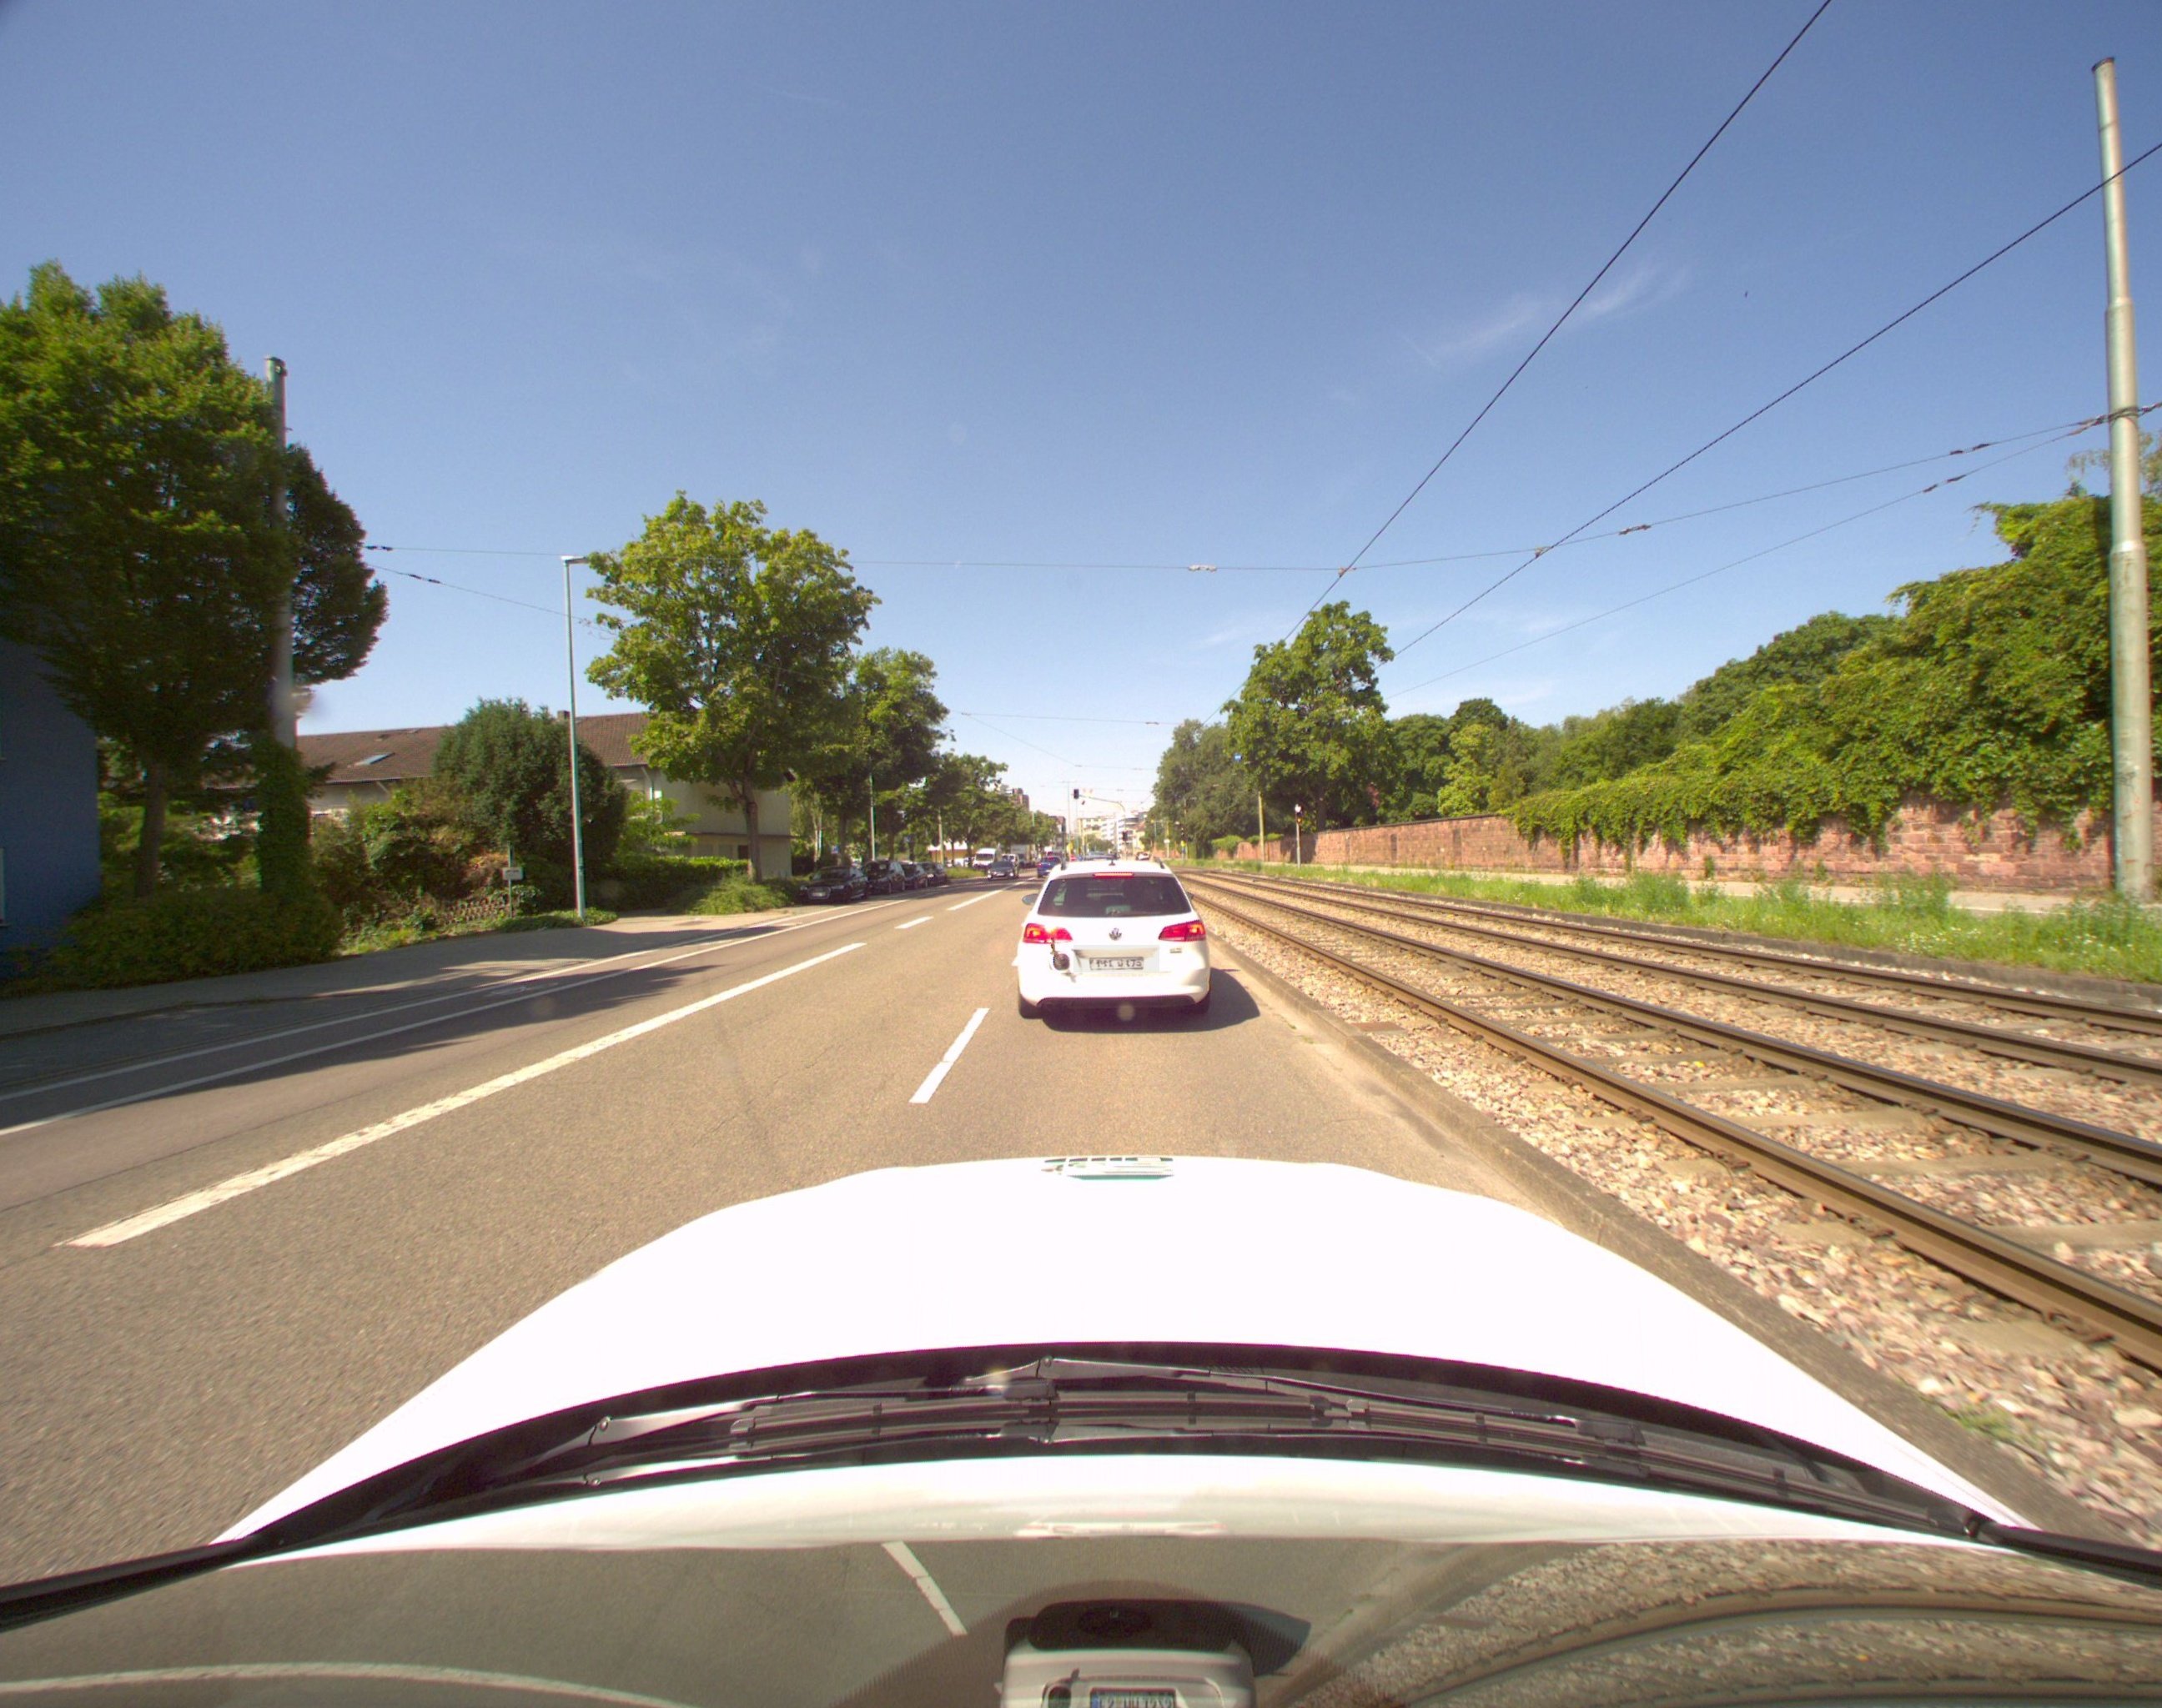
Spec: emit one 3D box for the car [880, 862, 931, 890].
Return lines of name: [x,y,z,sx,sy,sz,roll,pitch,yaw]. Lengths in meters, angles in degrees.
car: [-9.791,1.198,45.668,1.684,1.379,4.783,-2,0,1]

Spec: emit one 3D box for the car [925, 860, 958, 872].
car: [-18.728,1.612,109.595,3.970,1.444,1.773,-3,0,3]

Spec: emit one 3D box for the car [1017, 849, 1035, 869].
car: [-7.799,0.678,115.958,1.837,2.668,5.005,-3,0,2]

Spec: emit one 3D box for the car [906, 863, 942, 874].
car: [-19.223,1.776,99.793,3.970,1.225,1.773,-3,0,3]

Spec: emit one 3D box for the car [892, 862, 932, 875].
car: [-19.172,1.670,92.400,3.970,1.264,1.773,-3,0,3]

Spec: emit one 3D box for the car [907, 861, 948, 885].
car: [-9.502,1.151,50.708,1.635,1.450,4.006,0,0,2]

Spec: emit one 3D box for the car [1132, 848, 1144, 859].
car: [13.363,-0.069,191.077,2.454,2.499,5.911,0,-1,1]

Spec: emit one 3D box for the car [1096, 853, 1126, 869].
car: [2.874,0.637,77.268,1.731,1.407,3.932,0,0,20]

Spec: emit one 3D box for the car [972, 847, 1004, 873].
car: [-9.125,0.528,80.473,2.049,2.501,6.314,0,0,4]

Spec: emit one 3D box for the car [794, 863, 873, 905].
car: [-9.931,1.158,33.090,1.835,1.465,4.906,-2,0,-2]

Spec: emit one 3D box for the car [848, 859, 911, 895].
car: [-9.848,1.082,40.119,1.756,1.606,4.894,-2,0,1]

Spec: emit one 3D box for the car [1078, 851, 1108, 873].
car: [0.888,0.559,57.327,1.852,1.513,3.919,0,0,5]

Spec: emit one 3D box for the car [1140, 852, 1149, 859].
car: [13.178,0.344,168.434,1.576,1.346,3.454,0,-1,1]

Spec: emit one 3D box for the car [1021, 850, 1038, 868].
car: [-7.822,0.717,123.886,1.837,2.494,5.859,-3,0,2]

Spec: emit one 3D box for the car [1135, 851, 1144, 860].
car: [13.135,0.334,182.630,1.685,1.812,3.454,0,-1,1]

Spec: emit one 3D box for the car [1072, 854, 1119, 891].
car: [0.574,0.695,32.603,1.740,1.388,3.913,-1,0,1]

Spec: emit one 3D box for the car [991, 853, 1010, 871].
car: [-9.279,0.859,94.026,1.839,1.937,5.188,-3,0,-3]

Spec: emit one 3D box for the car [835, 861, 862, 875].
car: [-34.241,2.126,120.140,3.413,1.876,1.552,-3,0,-1]

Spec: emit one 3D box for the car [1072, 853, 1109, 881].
car: [0.513,0.645,43.150,1.854,1.416,4.325,0,0,1]

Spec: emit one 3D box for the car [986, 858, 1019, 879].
car: [-5.141,0.951,53.845,1.681,1.244,4.065,-2,0,1]

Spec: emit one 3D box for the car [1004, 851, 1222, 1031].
car: [0.273,0.702,8.568,1.762,1.446,3.913,0,0,0]

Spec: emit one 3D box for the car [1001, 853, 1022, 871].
car: [-8.495,0.949,99.747,1.837,1.960,5.136,-3,0,2]

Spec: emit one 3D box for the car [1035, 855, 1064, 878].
car: [-2.054,0.812,54.431,1.740,1.407,3.913,0,0,1]

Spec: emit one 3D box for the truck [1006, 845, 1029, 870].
truck: [-8.466,0.436,108.937,2.348,3.122,6.891,-3,0,0]
